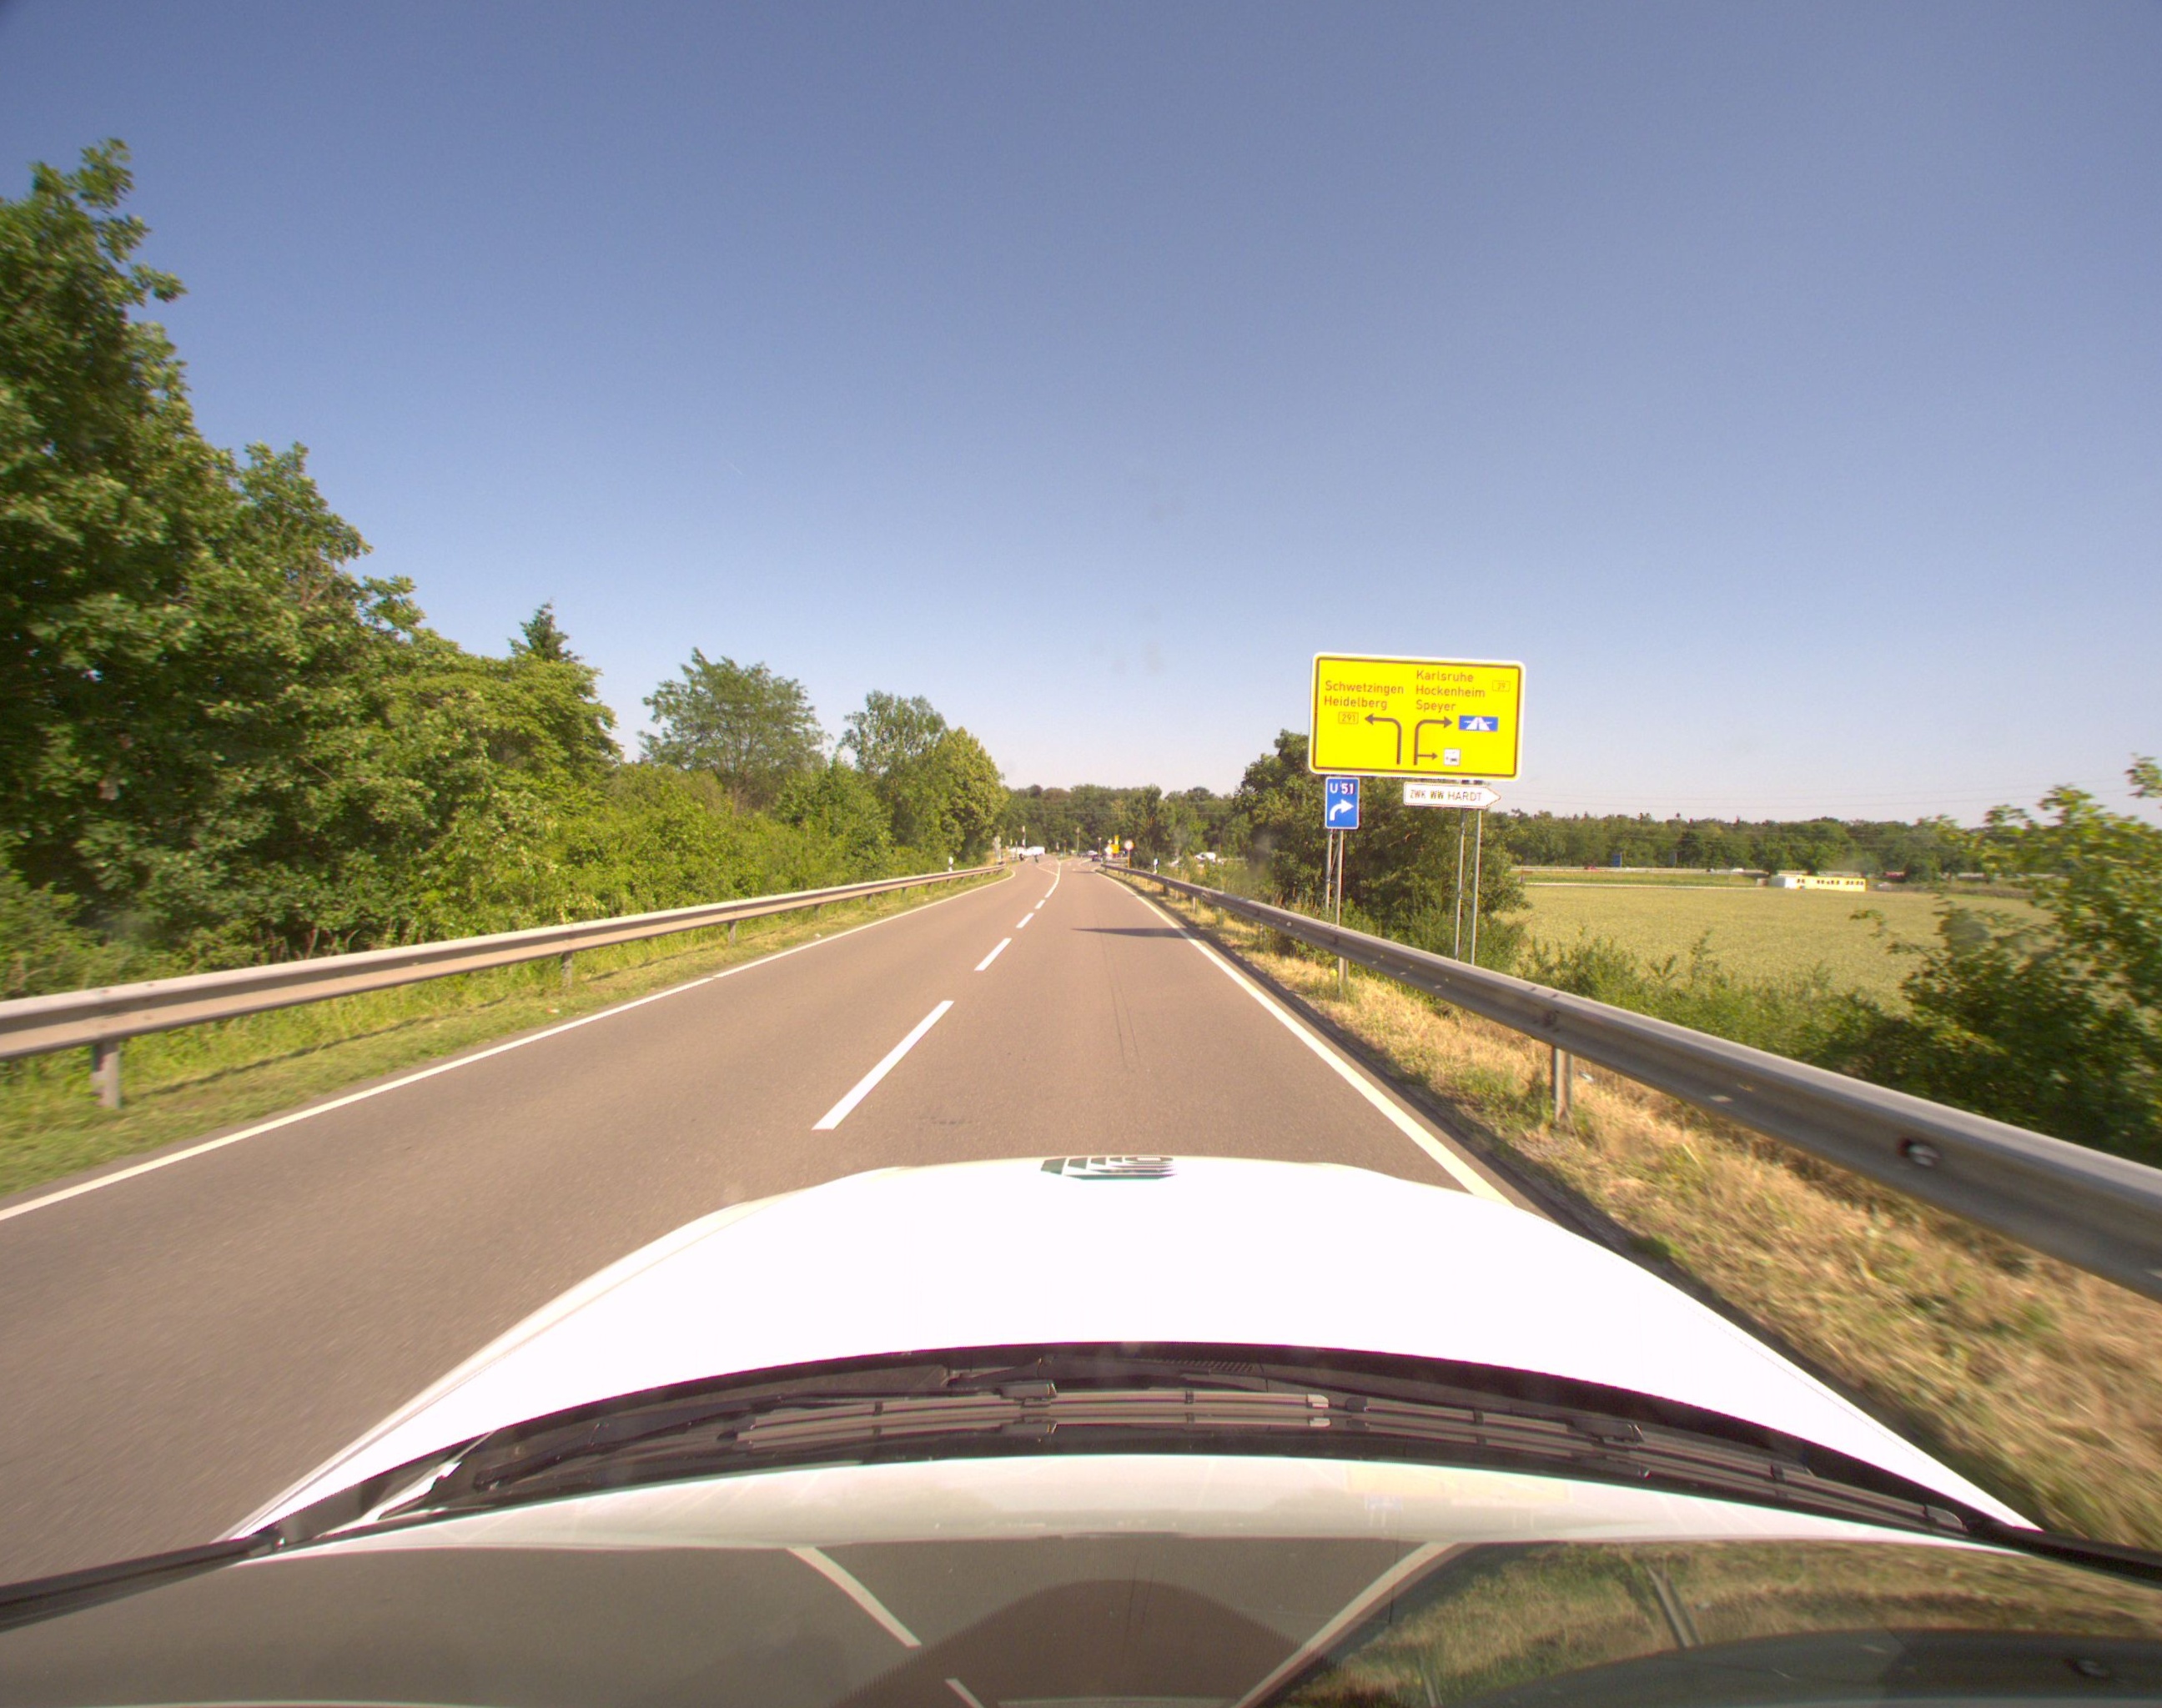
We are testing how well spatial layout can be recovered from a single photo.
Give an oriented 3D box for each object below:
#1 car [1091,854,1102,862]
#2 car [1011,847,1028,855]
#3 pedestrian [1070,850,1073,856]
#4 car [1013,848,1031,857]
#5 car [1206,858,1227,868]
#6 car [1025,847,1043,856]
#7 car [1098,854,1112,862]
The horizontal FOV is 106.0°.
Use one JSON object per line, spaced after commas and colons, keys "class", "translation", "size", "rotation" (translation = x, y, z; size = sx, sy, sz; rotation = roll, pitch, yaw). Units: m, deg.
{"class": "car", "translation": [3.088, 0.787, 162.594], "size": [1.791, 1.398, 4.005], "rotation": [-4, 0, 5]}
{"class": "car", "translation": [-15.561, -0.659, 206.282], "size": [4.003, 2.013, 1.783], "rotation": [0, 0, -22]}
{"class": "pedestrian", "translation": [-2.363, -0.280, 200.434], "size": [0.518, 1.390, 0.517], "rotation": [0, 0, 24]}
{"class": "car", "translation": [-13.150, -0.375, 182.173], "size": [3.981, 2.013, 1.797], "rotation": [1, 1, -5]}
{"class": "car", "translation": [28.881, 2.007, 173.883], "size": [3.950, 1.876, 1.903], "rotation": [4, 1, 39]}
{"class": "car", "translation": [-11.100, -0.612, 192.466], "size": [3.989, 2.013, 1.992], "rotation": [0, 0, -11]}
{"class": "car", "translation": [5.039, 0.859, 169.673], "size": [1.786, 1.501, 4.017], "rotation": [2, 0, 16]}
